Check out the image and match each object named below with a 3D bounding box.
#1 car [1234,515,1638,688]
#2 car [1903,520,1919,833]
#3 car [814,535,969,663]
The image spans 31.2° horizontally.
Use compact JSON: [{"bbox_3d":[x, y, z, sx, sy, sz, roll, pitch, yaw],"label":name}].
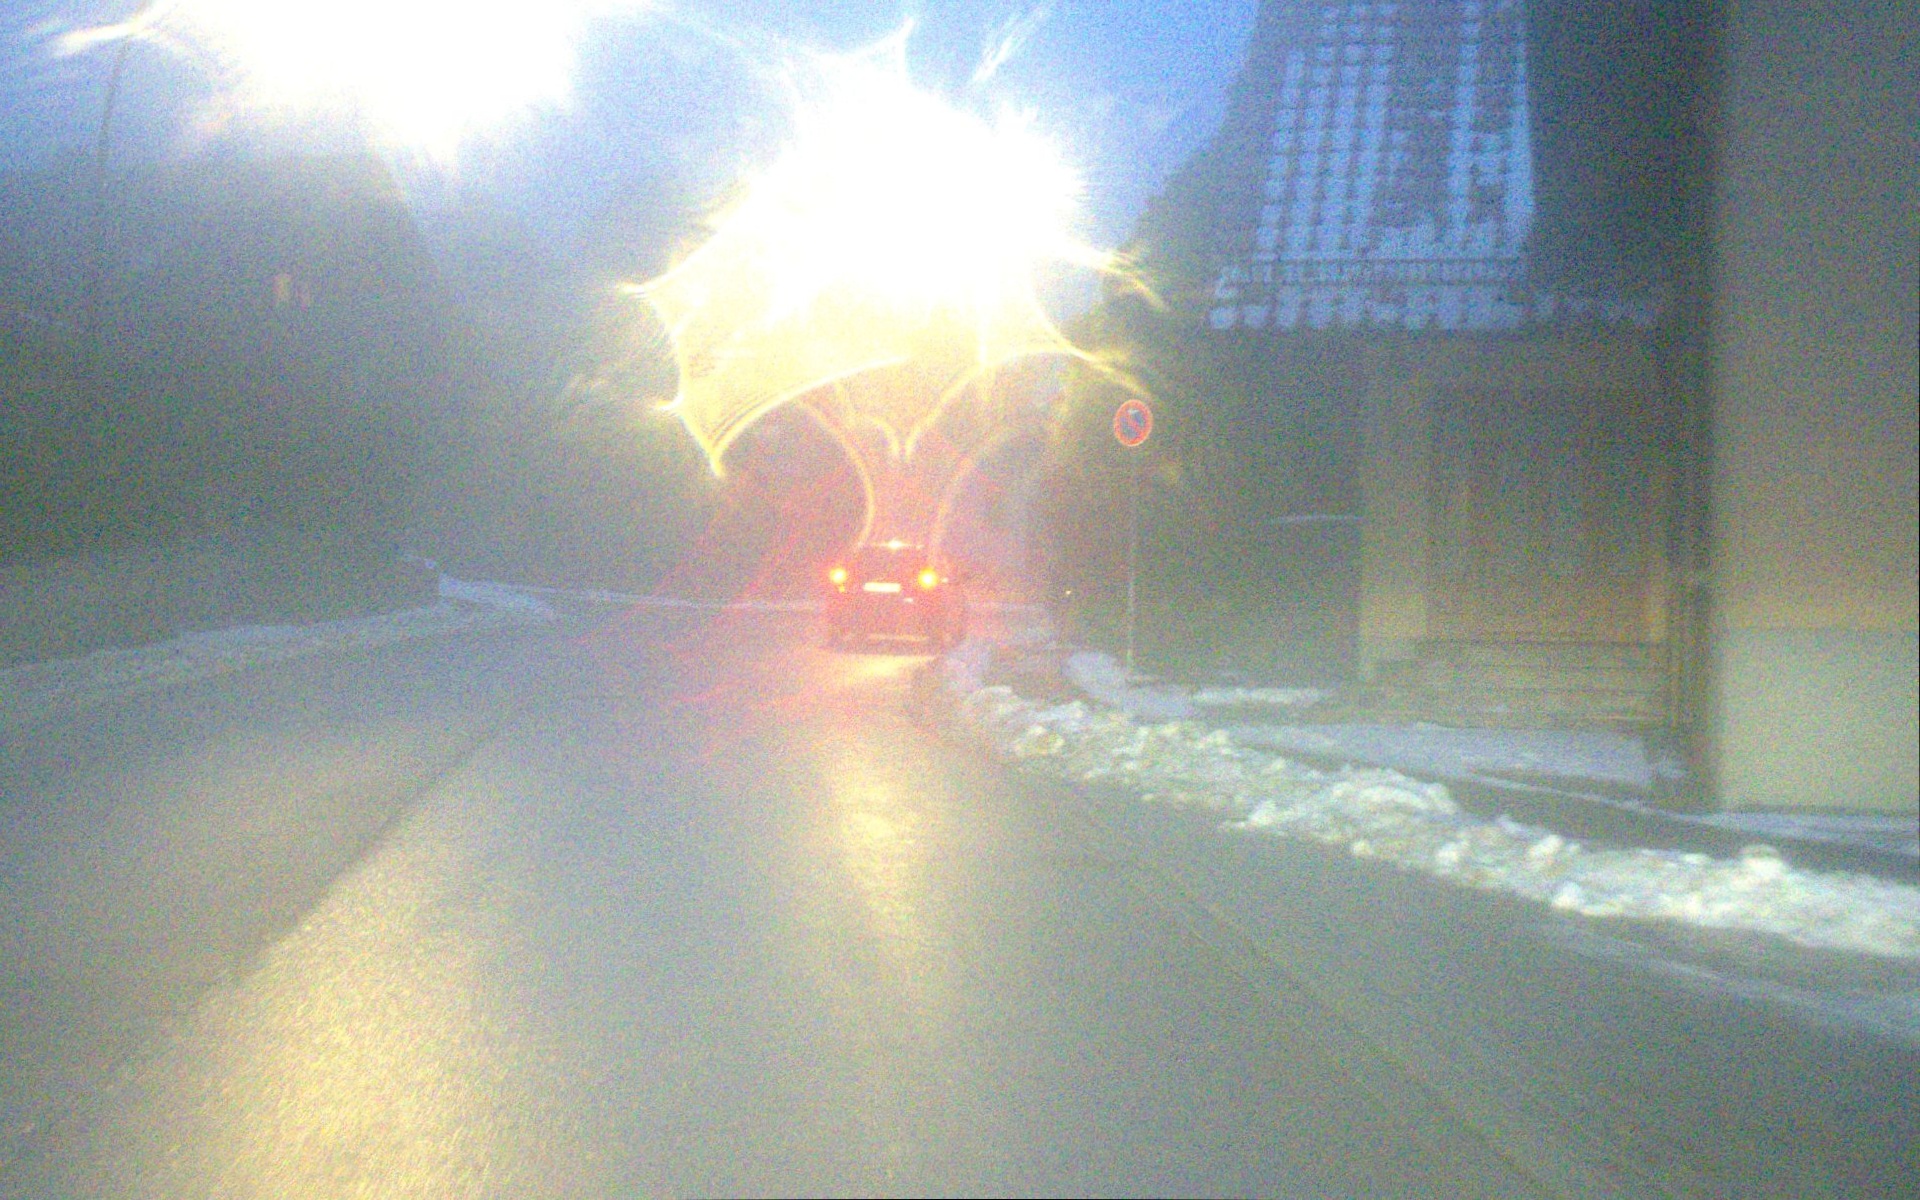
[{"bbox_3d":[5.039,-0.005,36.240,3.990,1.684,1.843,1,1,15],"label":"car"},{"bbox_3d":[6.771,0.333,16.287,4.159,1.554,1.945,-1,-2,7],"label":"car"},{"bbox_3d":[-0.972,0.025,50.854,1.994,1.731,3.878,-1,-2,3],"label":"car"}]
